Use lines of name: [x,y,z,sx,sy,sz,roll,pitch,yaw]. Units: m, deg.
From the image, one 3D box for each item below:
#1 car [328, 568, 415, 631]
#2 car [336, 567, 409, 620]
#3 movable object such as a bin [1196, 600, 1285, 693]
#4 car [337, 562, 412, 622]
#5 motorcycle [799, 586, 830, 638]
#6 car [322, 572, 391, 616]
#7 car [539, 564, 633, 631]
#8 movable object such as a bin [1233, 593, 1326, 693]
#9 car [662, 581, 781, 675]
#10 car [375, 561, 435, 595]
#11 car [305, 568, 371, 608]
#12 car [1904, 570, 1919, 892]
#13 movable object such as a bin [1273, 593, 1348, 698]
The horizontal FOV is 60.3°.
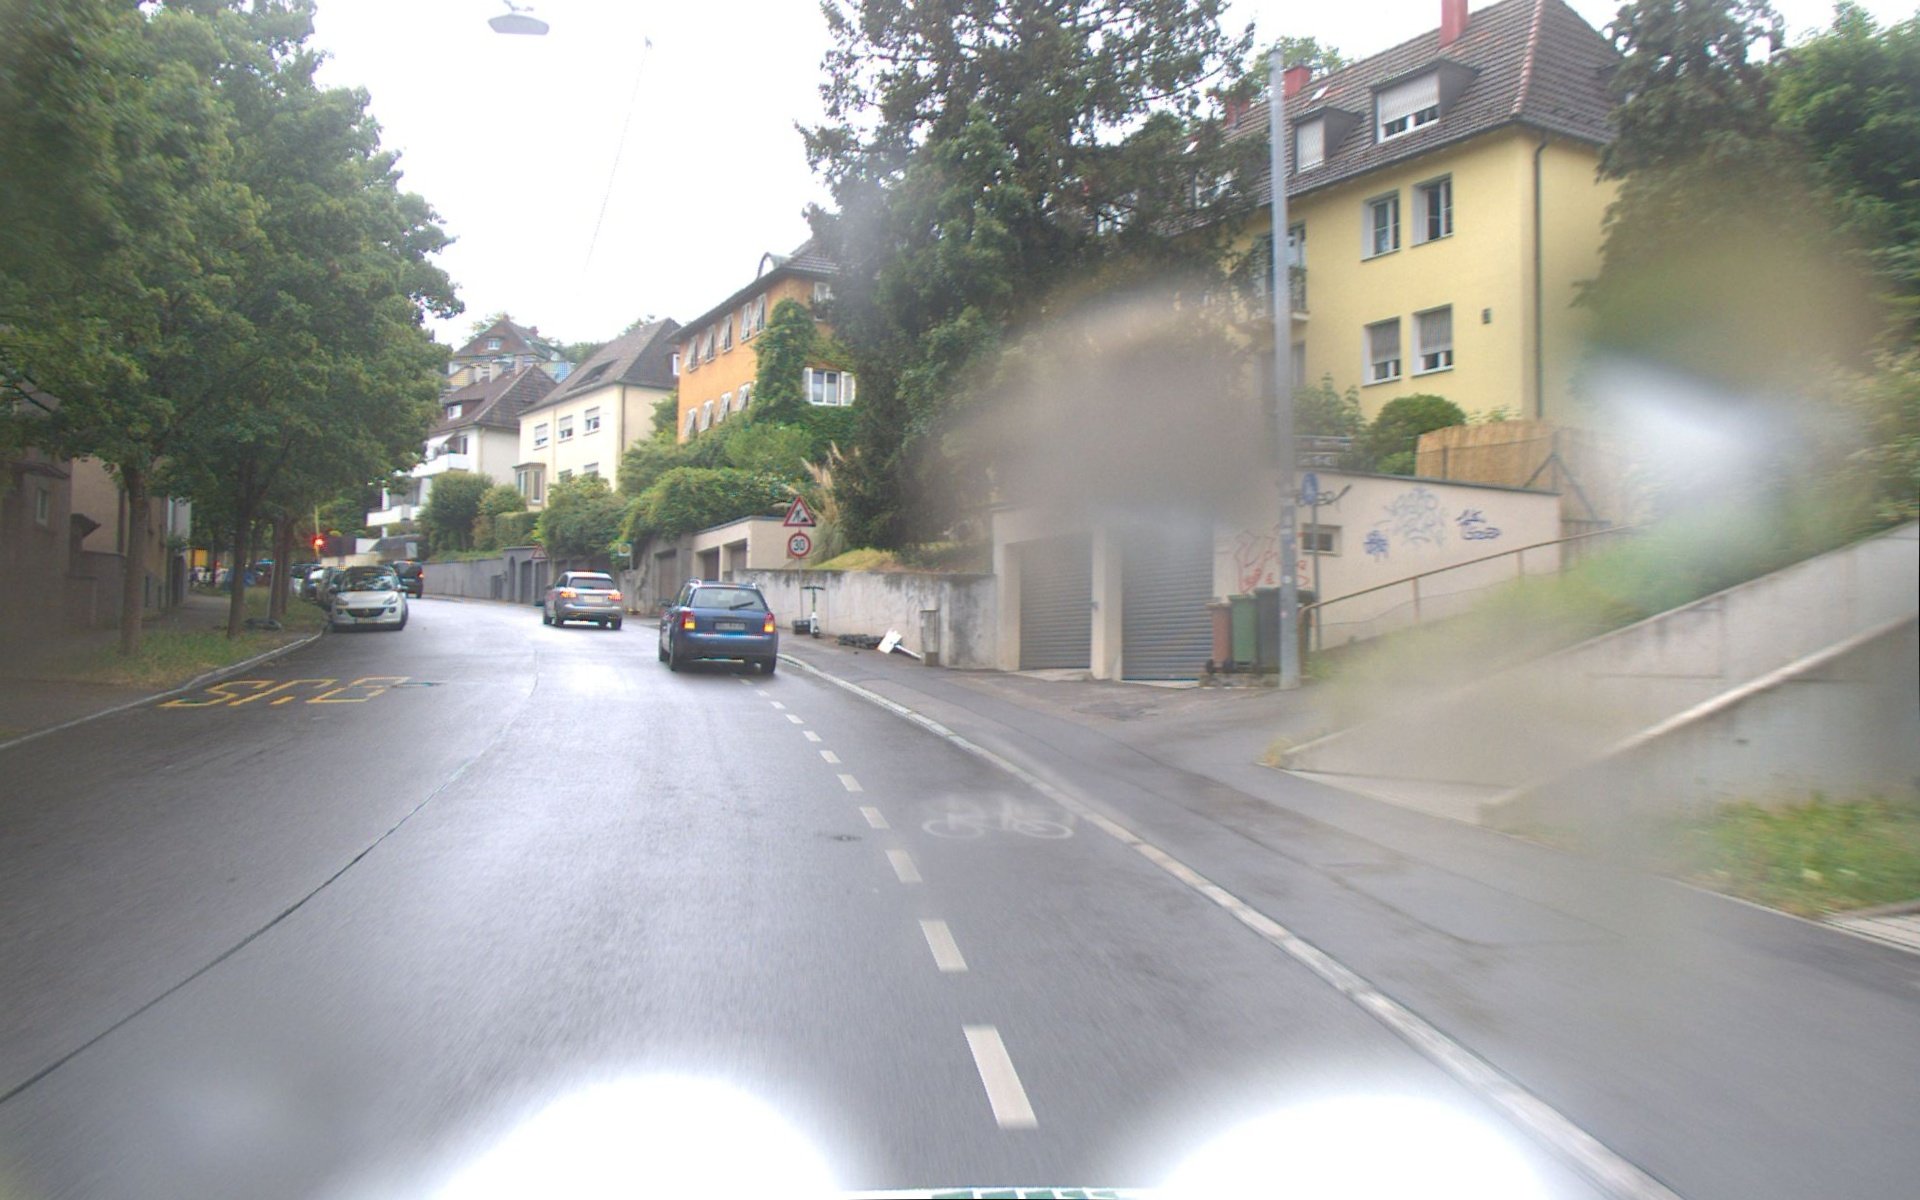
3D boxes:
car: [-15.269,-0.036,42.792,1.966,1.556,3.973,0,1,-22]
car: [-18.686,-0.228,52.506,1.966,1.601,3.972,-1,1,-23]
movable object such as a bin: [3.653,0.591,21.567,0.849,1.162,0.792,-1,0,-28]
car: [-16.817,-0.241,47.405,1.852,1.624,3.973,0,1,-22]
motorcycle: [-3.348,0.268,38.019,0.538,1.151,1.436,0,1,-12]
car: [-21.614,-0.224,59.147,1.969,1.501,3.967,-1,1,-26]
car: [-10.244,-0.109,45.097,1.922,1.588,4.238,1,2,-21]
movable object such as a bin: [4.028,0.526,20.865,0.849,1.206,0.780,-1,0,-28]
car: [-4.112,0.413,28.045,1.820,1.438,4.350,-1,1,-10]
car: [-29.112,-1.160,86.702,1.977,1.713,3.951,0,1,-35]
car: [-24.453,-0.463,64.955,1.970,1.501,3.964,-1,1,-27]
car: [6.158,0.539,6.436,4.092,1.534,1.737,-3,0,-9]
movable object such as a bin: [4.283,0.540,20.225,0.694,1.244,0.575,-1,0,-28]
